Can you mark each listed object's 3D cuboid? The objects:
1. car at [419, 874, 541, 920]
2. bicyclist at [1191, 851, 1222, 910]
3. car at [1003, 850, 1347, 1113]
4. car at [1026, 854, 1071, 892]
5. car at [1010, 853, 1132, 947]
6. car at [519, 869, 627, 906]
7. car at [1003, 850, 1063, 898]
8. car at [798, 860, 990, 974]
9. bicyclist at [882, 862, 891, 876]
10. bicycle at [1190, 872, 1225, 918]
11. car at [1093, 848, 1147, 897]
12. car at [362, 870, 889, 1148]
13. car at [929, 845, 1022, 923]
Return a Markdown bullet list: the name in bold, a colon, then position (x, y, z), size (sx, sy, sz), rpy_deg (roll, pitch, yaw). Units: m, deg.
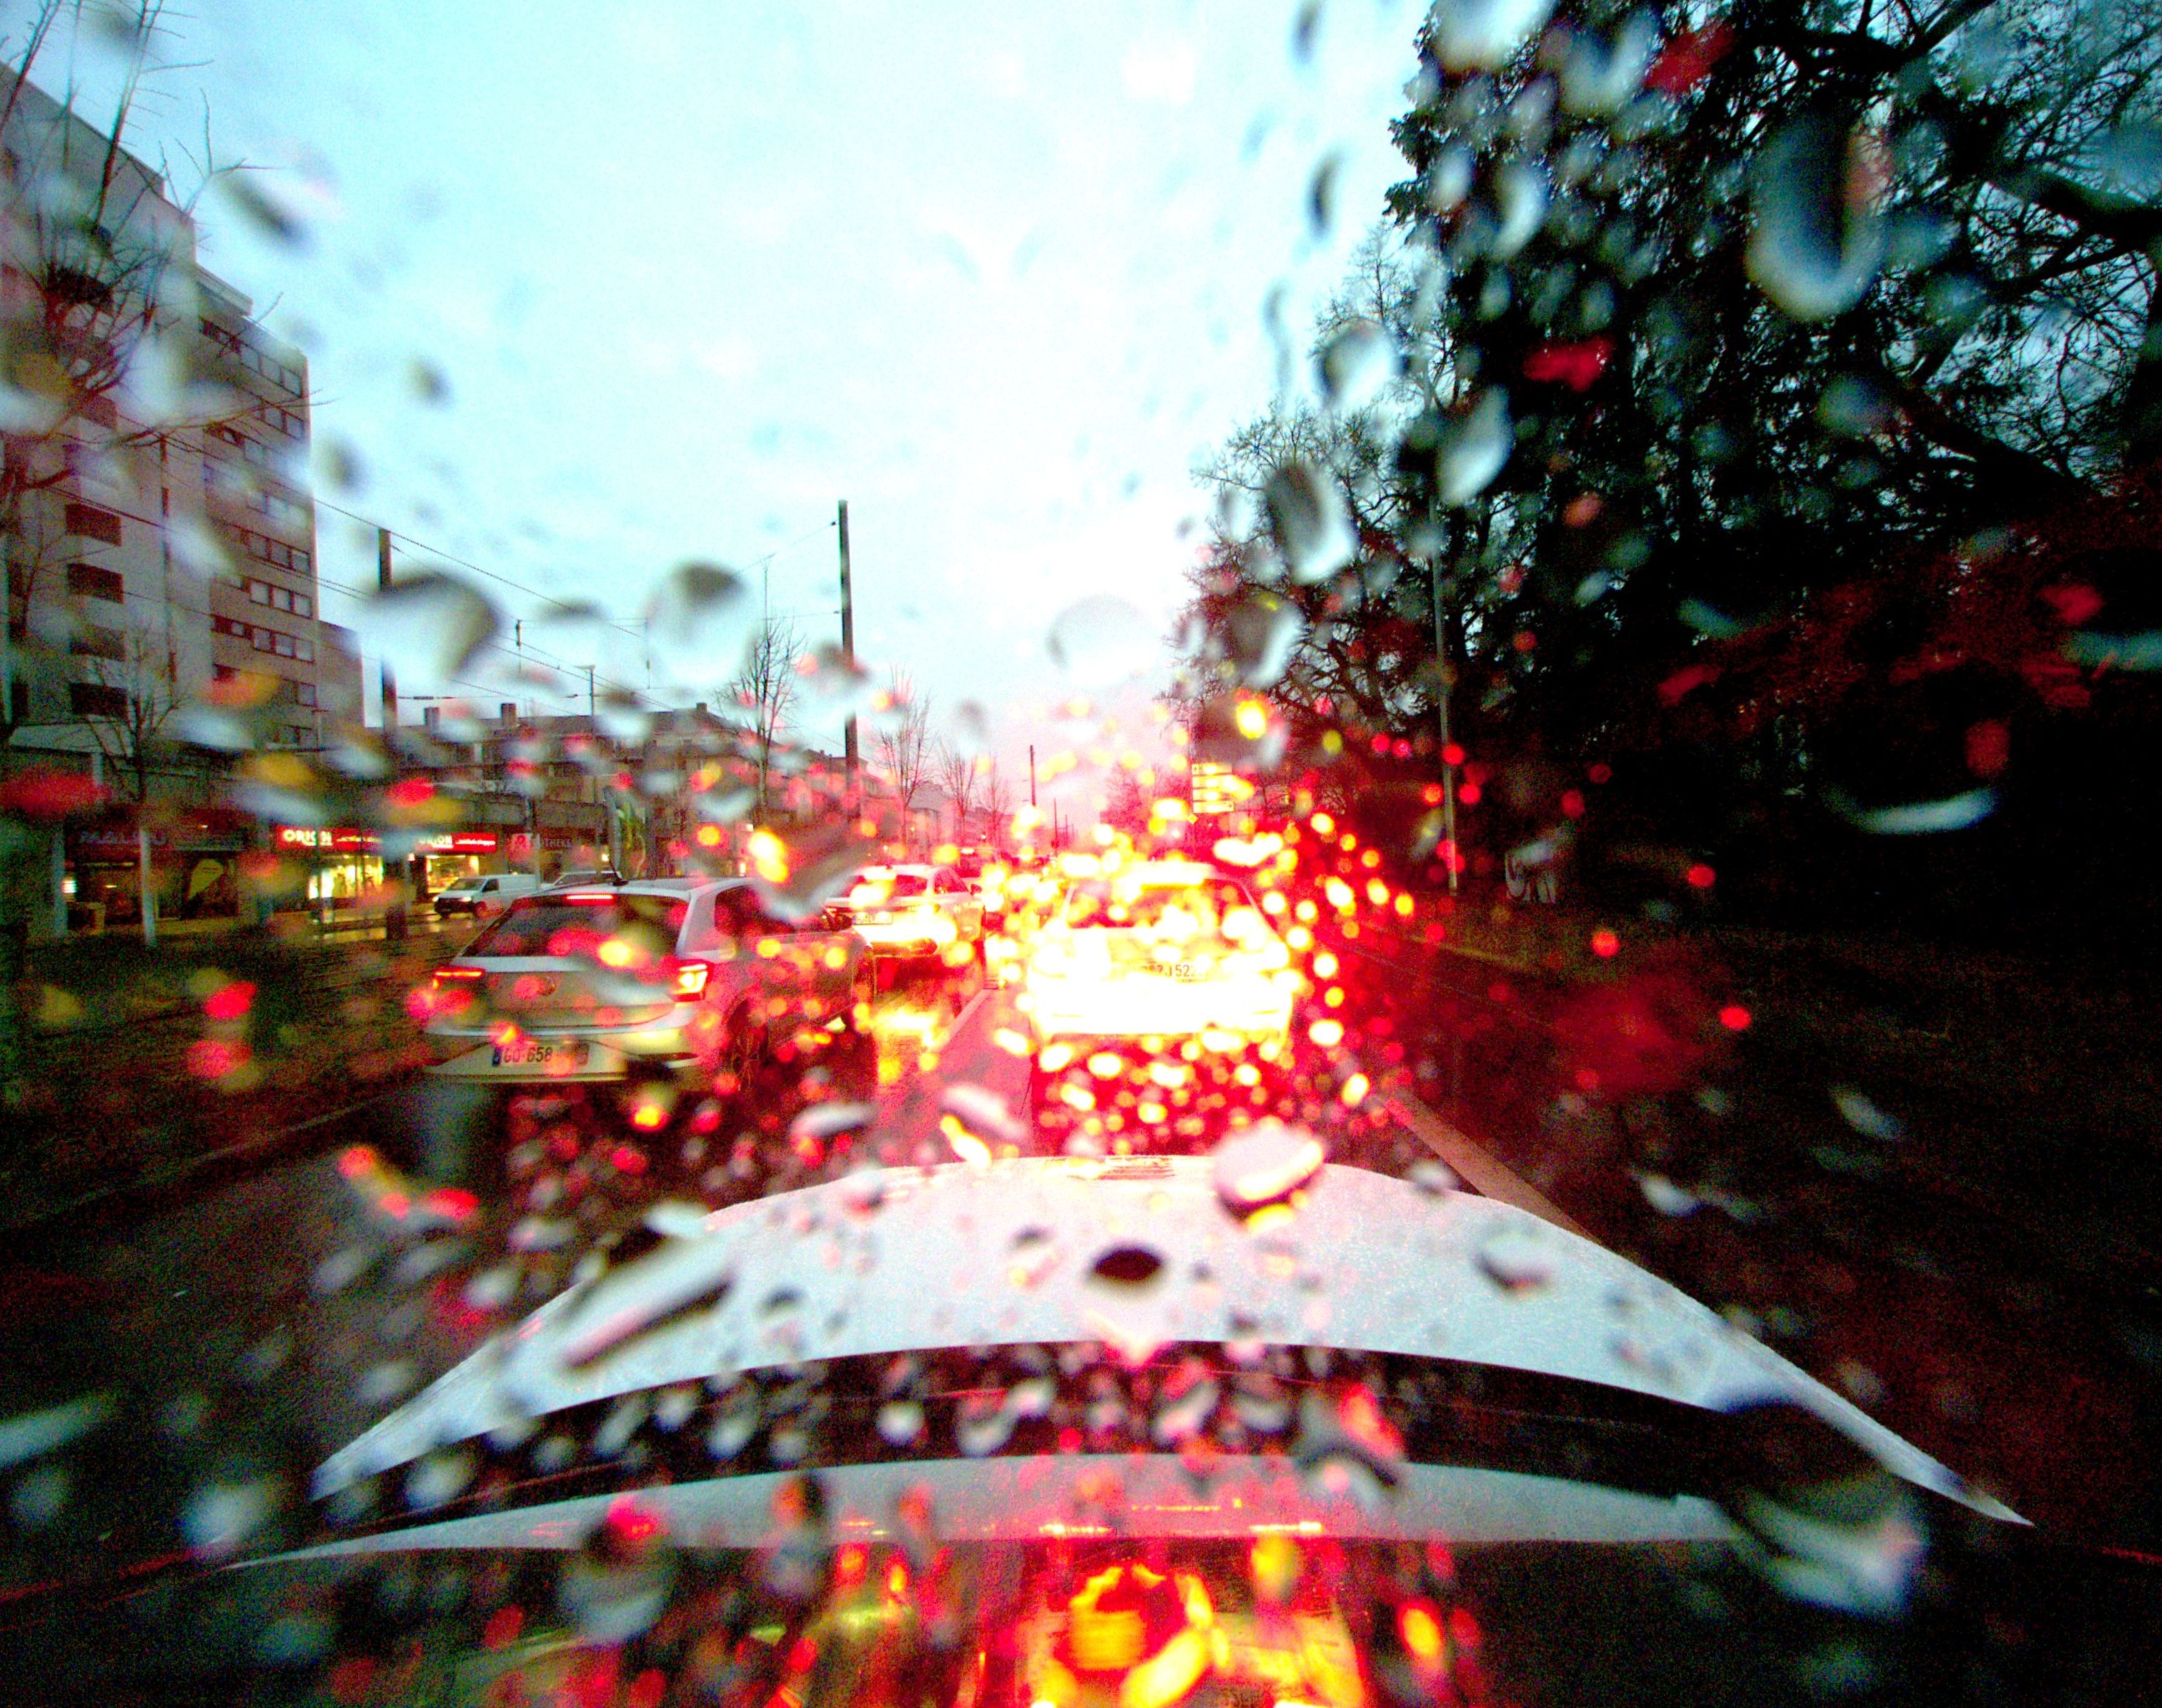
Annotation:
- **car**: position (-29.752, 2.063, 40.594), size (1.985, 1.912, 5.167), rpy_deg (-3, 0, 3)
- **bicyclist**: position (3.059, 0.632, 19.893), size (0.642, 1.389, 0.891), rpy_deg (-2, 0, 4)
- **car**: position (0.618, 0.753, 6.893), size (1.992, 1.508, 4.165), rpy_deg (-1, 0, 2)
- **car**: position (-1.472, 0.834, 38.244), size (1.800, 1.646, 4.002), rpy_deg (-1, 0, 2)
- **car**: position (-0.096, 0.731, 15.167), size (1.928, 1.457, 4.165), rpy_deg (-1, 0, 2)
- **car**: position (-30.730, 2.002, 49.362), size (5.193, 1.912, 1.975), rpy_deg (-3, 0, -44)
- **car**: position (-1.695, 0.683, 29.977), size (1.800, 1.646, 4.002), rpy_deg (-1, 0, 2)
- **car**: position (-2.633, 0.821, 12.671), size (1.840, 1.405, 4.614), rpy_deg (-1, 0, 1)
- **bicyclist**: position (-21.881, 1.661, 91.574), size (0.795, 1.579, 0.630), rpy_deg (0, -1, -43)
- **bicycle**: position (3.073, 0.972, 19.867), size (0.642, 0.966, 2.049), rpy_deg (-2, 0, 4)
- **car**: position (1.402, 0.619, 29.895), size (1.800, 1.646, 4.002), rpy_deg (-1, 0, 2)
- **car**: position (-2.863, 0.853, 6.269), size (1.756, 1.371, 3.981), rpy_deg (-1, 0, 1)
- **car**: position (-2.528, 0.686, 20.581), size (1.788, 1.736, 4.535), rpy_deg (-1, 0, -1)
